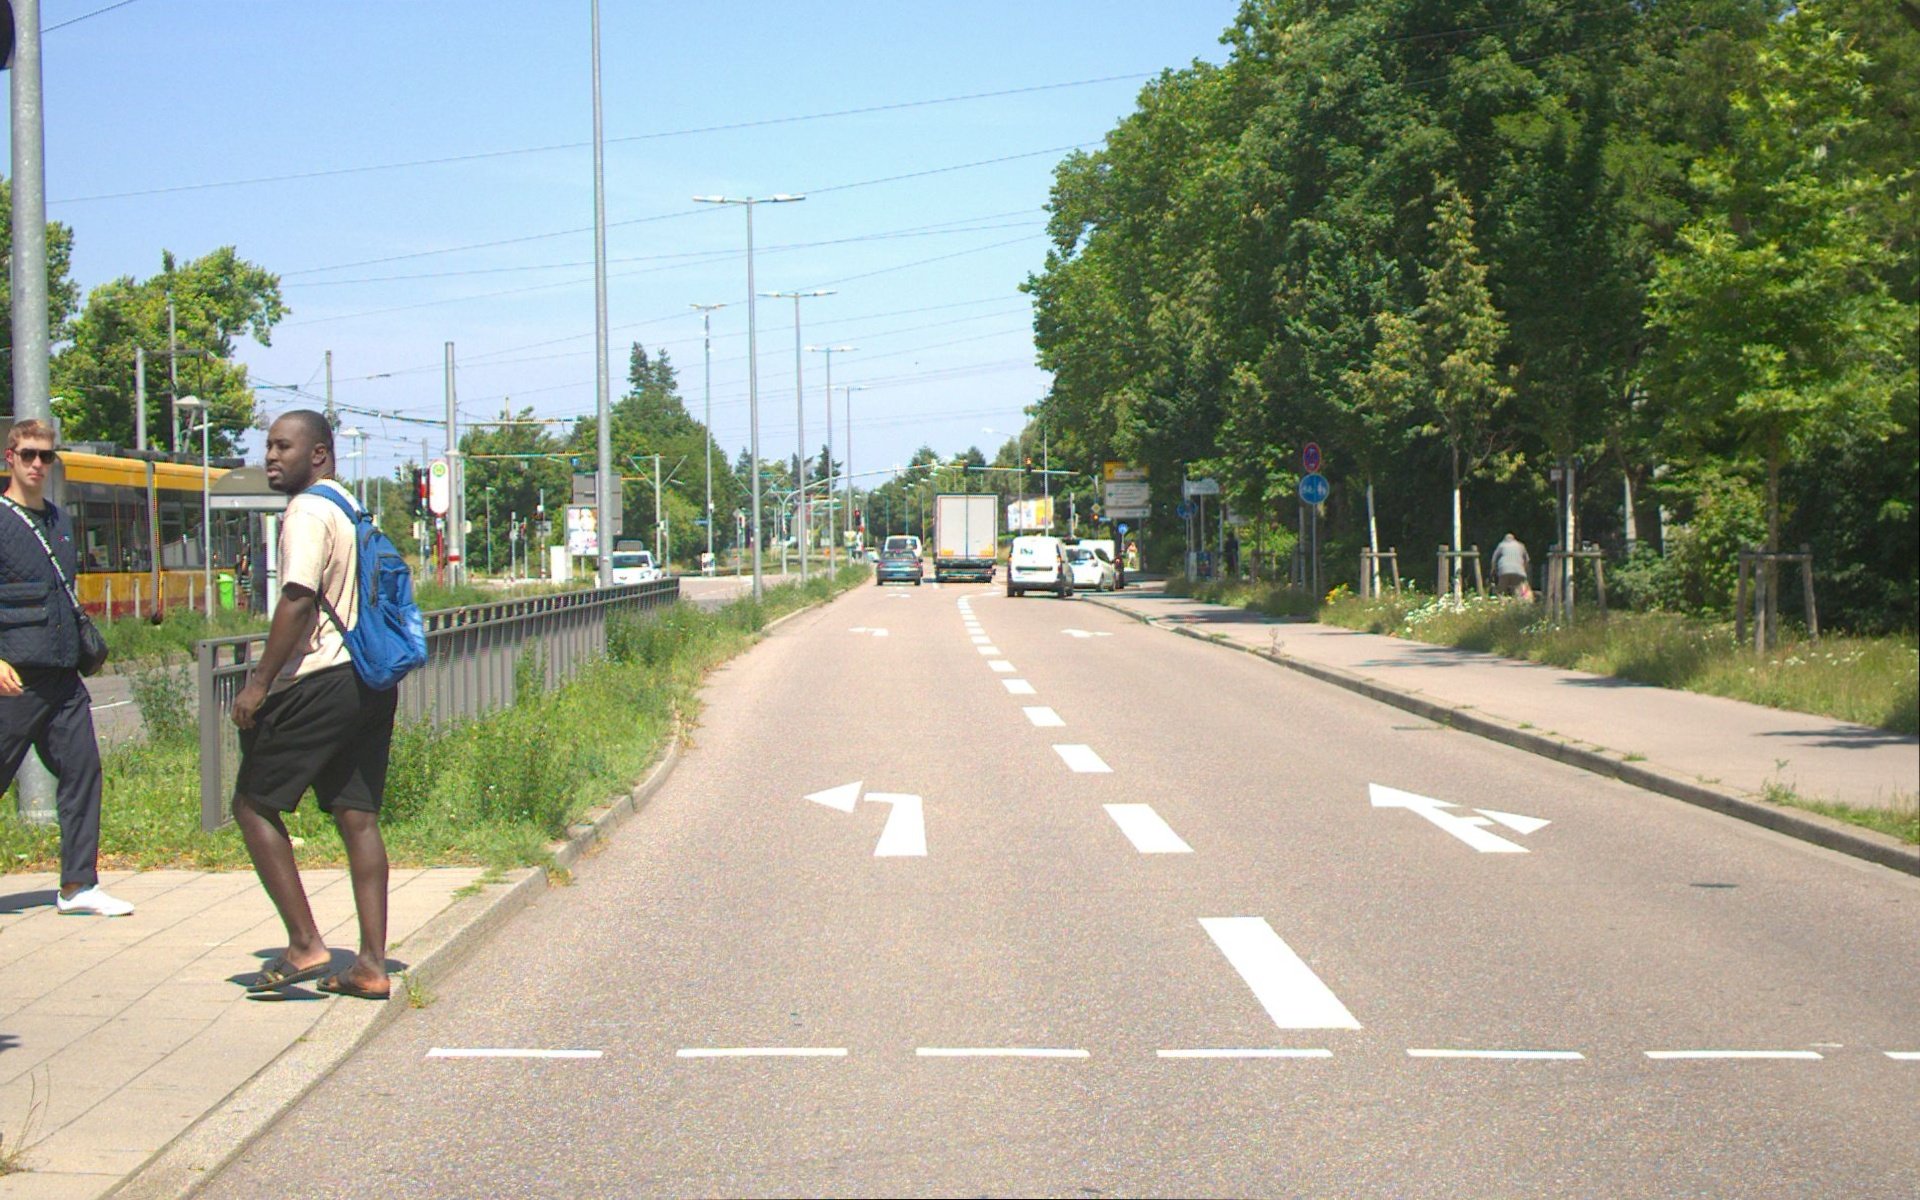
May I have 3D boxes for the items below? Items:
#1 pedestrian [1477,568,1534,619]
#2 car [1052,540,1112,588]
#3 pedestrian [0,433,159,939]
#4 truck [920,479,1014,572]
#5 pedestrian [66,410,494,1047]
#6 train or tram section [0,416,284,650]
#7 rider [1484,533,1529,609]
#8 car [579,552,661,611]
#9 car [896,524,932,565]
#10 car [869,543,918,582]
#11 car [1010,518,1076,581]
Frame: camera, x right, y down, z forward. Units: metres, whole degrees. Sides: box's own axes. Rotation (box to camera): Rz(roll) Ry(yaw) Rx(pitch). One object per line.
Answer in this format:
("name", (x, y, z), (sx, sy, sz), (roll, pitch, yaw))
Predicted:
("pedestrian", (9.277, -0.120, 58.508), (0.678, 0.845, 1.774), (0, 1, -1))
("car", (3.970, -1.200, 112.530), (1.803, 1.534, 4.000), (0, 1, 0))
("pedestrian", (-3.575, 0.298, 12.721), (0.959, 1.790, 0.704), (0, 1, 29))
("truck", (0.226, -3.192, 147.895), (3.899, 3.800, 10.793), (0, 1, -1))
("pedestrian", (-2.054, 0.364, 10.453), (1.047, 1.844, 0.757), (0, 1, 15))
("train or tram section", (-16.521, -1.216, 64.485), (2.788, 3.655, 26.000), (0, 1, -1))
("rider", (9.285, -0.493, 58.459), (0.678, 1.277, 0.534), (0, 1, -1))
("car", (-9.746, -0.543, 98.903), (1.993, 1.644, 4.000), (0, 1, -1))
("car", (-2.194, -2.661, 164.500), (1.687, 1.891, 3.870), (0, 1, -1))
("car", (-2.559, -1.469, 133.756), (1.801, 1.481, 4.000), (0, 1, 0))
("car", (2.489, -1.502, 102.320), (1.728, 1.807, 3.999), (1, 1, 5))
